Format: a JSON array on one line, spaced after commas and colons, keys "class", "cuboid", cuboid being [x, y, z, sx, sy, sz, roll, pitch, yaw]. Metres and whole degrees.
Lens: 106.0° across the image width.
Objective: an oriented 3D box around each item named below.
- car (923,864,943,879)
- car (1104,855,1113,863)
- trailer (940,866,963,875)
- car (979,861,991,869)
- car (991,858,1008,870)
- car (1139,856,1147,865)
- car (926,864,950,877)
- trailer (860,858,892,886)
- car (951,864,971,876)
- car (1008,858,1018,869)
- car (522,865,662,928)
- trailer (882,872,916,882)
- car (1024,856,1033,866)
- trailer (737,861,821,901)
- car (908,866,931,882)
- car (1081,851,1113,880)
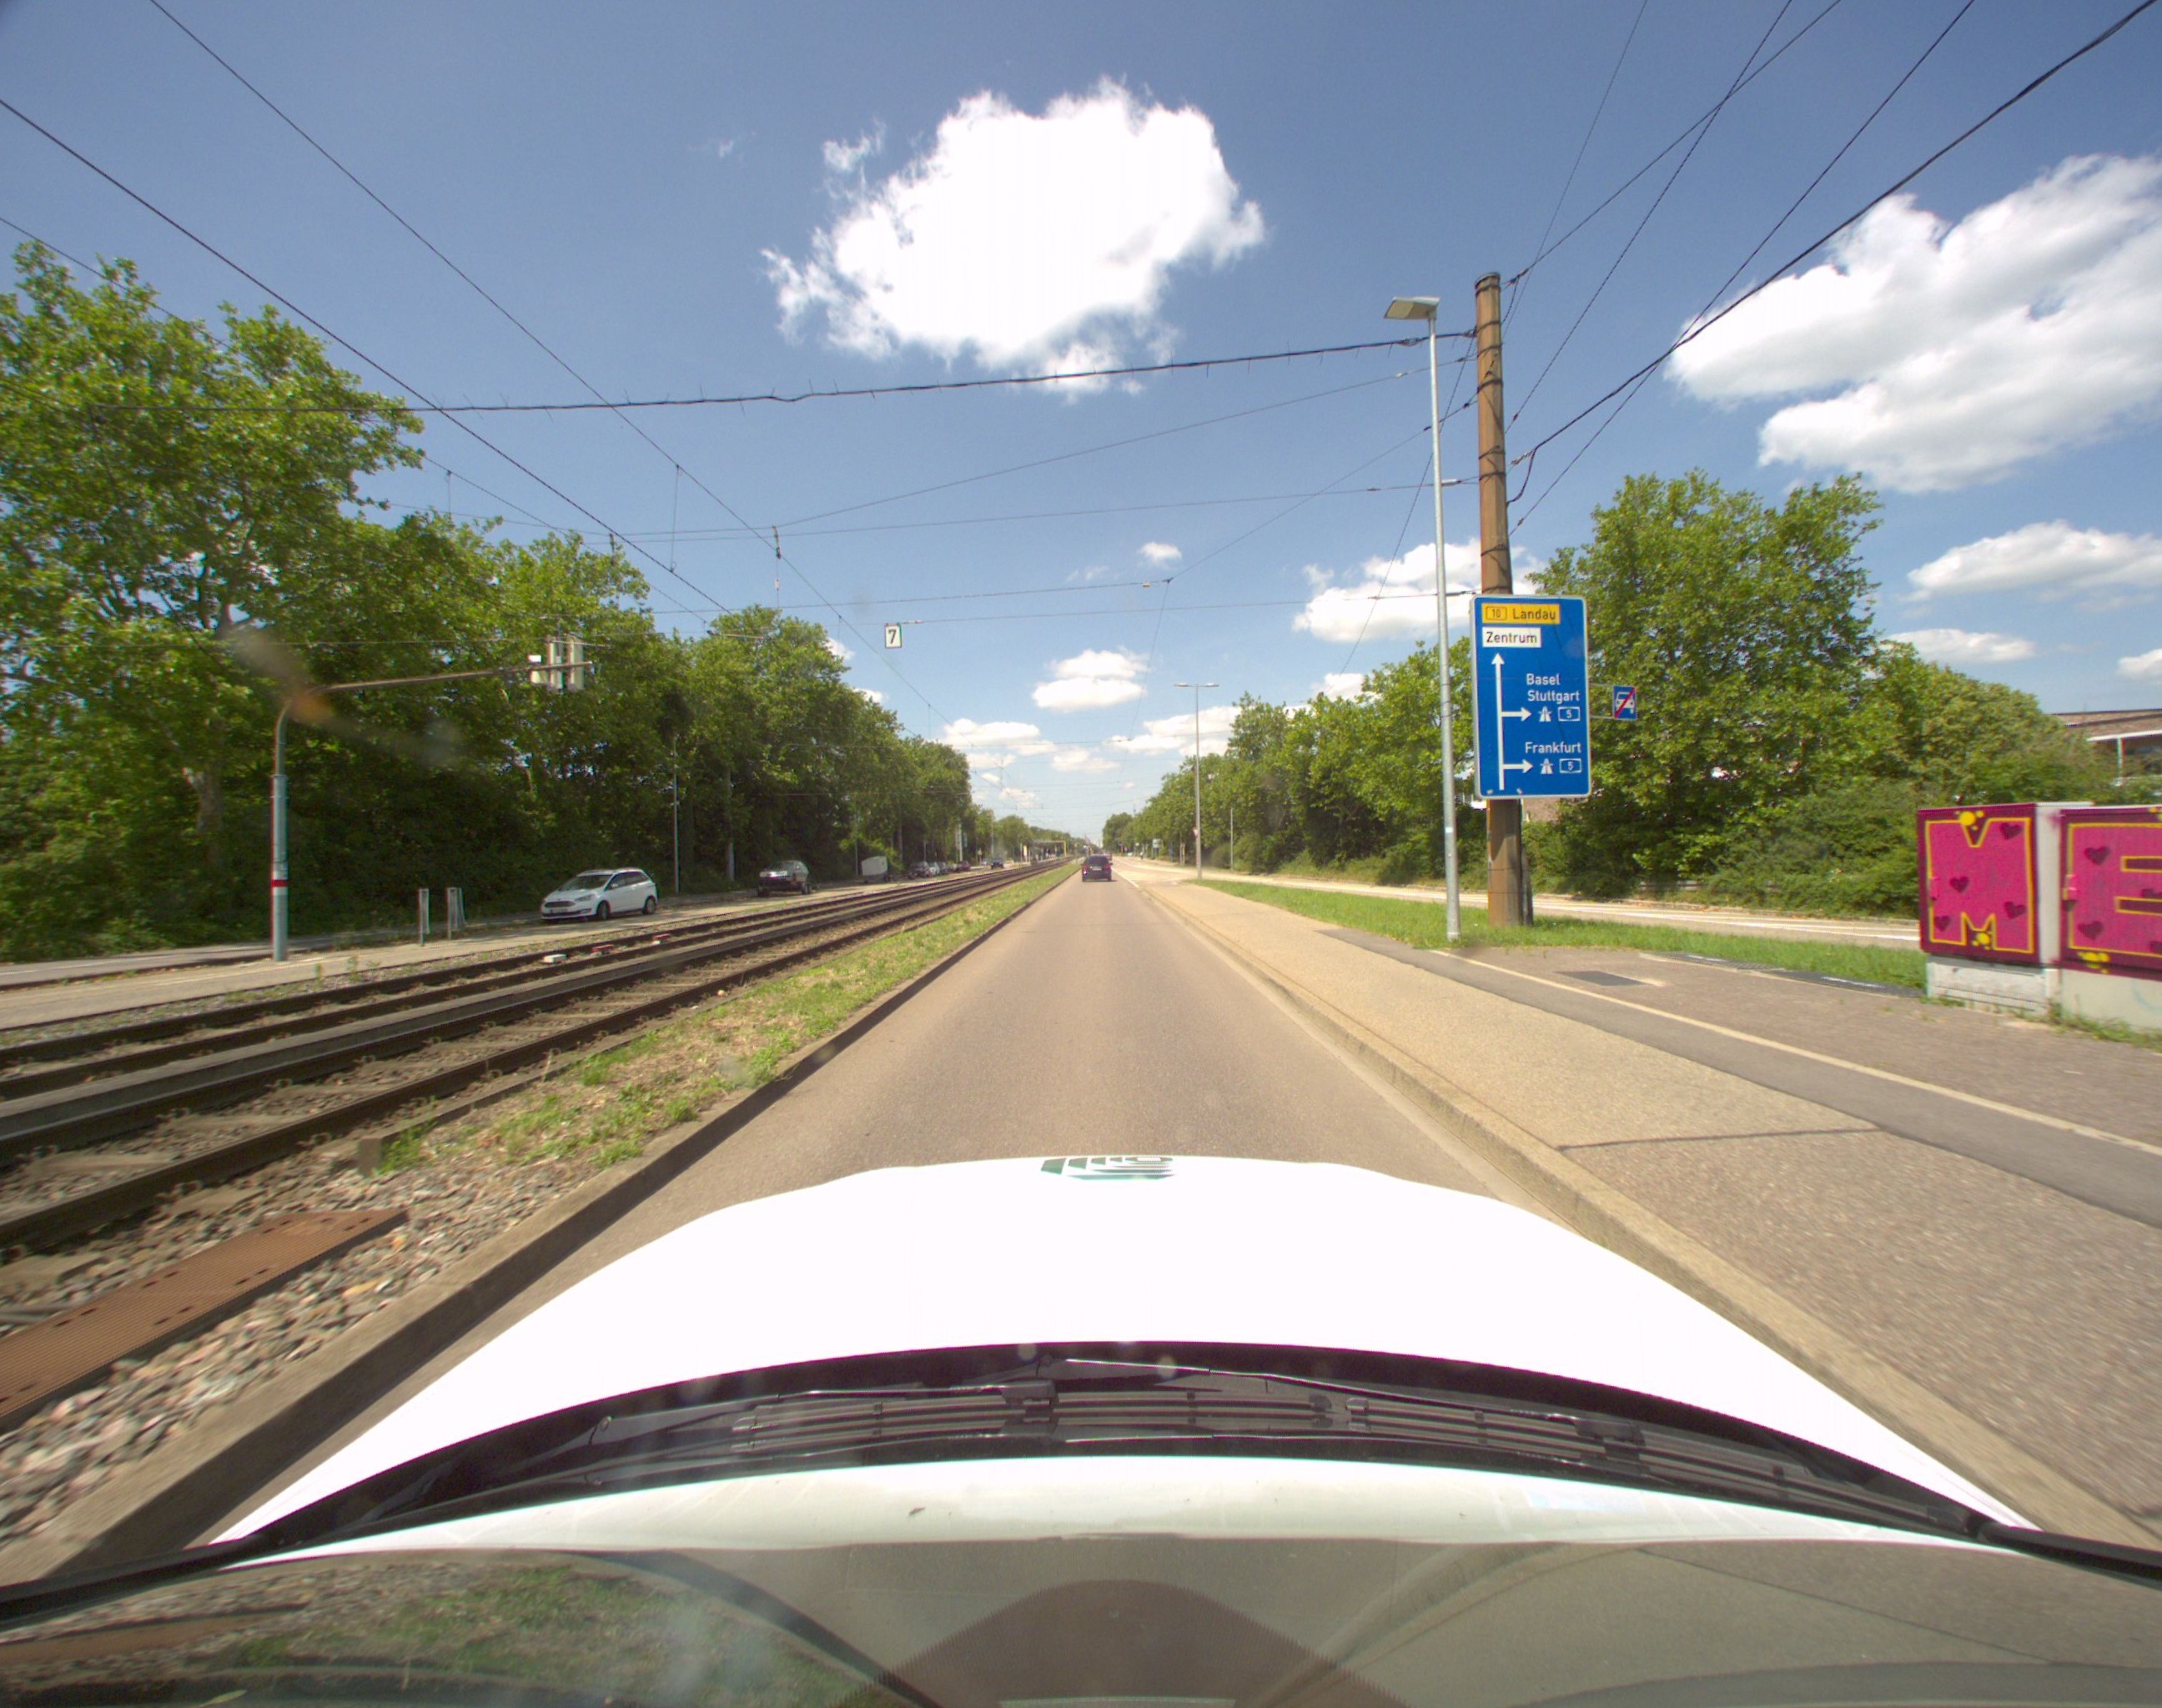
[{"class": "car", "cuboid": [-15.332, 1.801, 84.354, 1.429, 1.451, 3.739, -1, 0, -1]}, {"class": "car", "cuboid": [6.277, 1.050, 185.547, 1.877, 1.640, 4.002, 2, 1, 2]}, {"class": "trailer", "cuboid": [-15.713, 2.020, 99.085, 1.887, 1.044, 5.102, 0, 0, 0]}, {"class": "car", "cuboid": [-20.907, 2.389, 177.075, 1.986, 1.574, 4.001, -1, 0, 1]}, {"class": "car", "cuboid": [-12.839, 1.568, 128.160, 2.110, 1.790, 5.405, -1, 0, 1]}, {"class": "car", "cuboid": [13.510, 1.419, 177.437, 1.607, 2.013, 3.440, 0, 1, 0]}, {"class": "car", "cuboid": [-15.738, 1.819, 89.973, 1.865, 1.401, 4.416, -1, 0, -1]}, {"class": "trailer", "cuboid": [-15.879, 1.362, 63.224, 1.605, 2.013, 3.913, 0, 0, -2]}, {"class": "car", "cuboid": [-15.946, 2.109, 108.170, 1.987, 1.574, 4.000, -1, 0, 0]}, {"class": "car", "cuboid": [-14.160, 1.954, 169.221, 1.989, 2.013, 3.996, 0, 1, -3]}, {"class": "car", "cuboid": [-16.067, 1.329, 27.079, 1.714, 1.630, 4.616, -4, 1, 0]}, {"class": "trailer", "cuboid": [-15.590, 1.951, 69.914, 1.987, 0.742, 4.000, -1, -1, 1]}, {"class": "car", "cuboid": [-10.478, 1.353, 163.302, 1.580, 2.013, 4.109, 0, 1, 0]}, {"class": "trailer", "cuboid": [-15.710, 1.360, 42.771, 2.456, 1.889, 5.954, -1, 0, -3]}, {"class": "car", "cuboid": [-15.471, 1.908, 78.080, 1.429, 1.451, 3.920, -1, 0, -1]}, {"class": "car", "cuboid": [1.012, 0.656, 49.243, 1.846, 1.570, 4.391, 0, 1, 2]}]
